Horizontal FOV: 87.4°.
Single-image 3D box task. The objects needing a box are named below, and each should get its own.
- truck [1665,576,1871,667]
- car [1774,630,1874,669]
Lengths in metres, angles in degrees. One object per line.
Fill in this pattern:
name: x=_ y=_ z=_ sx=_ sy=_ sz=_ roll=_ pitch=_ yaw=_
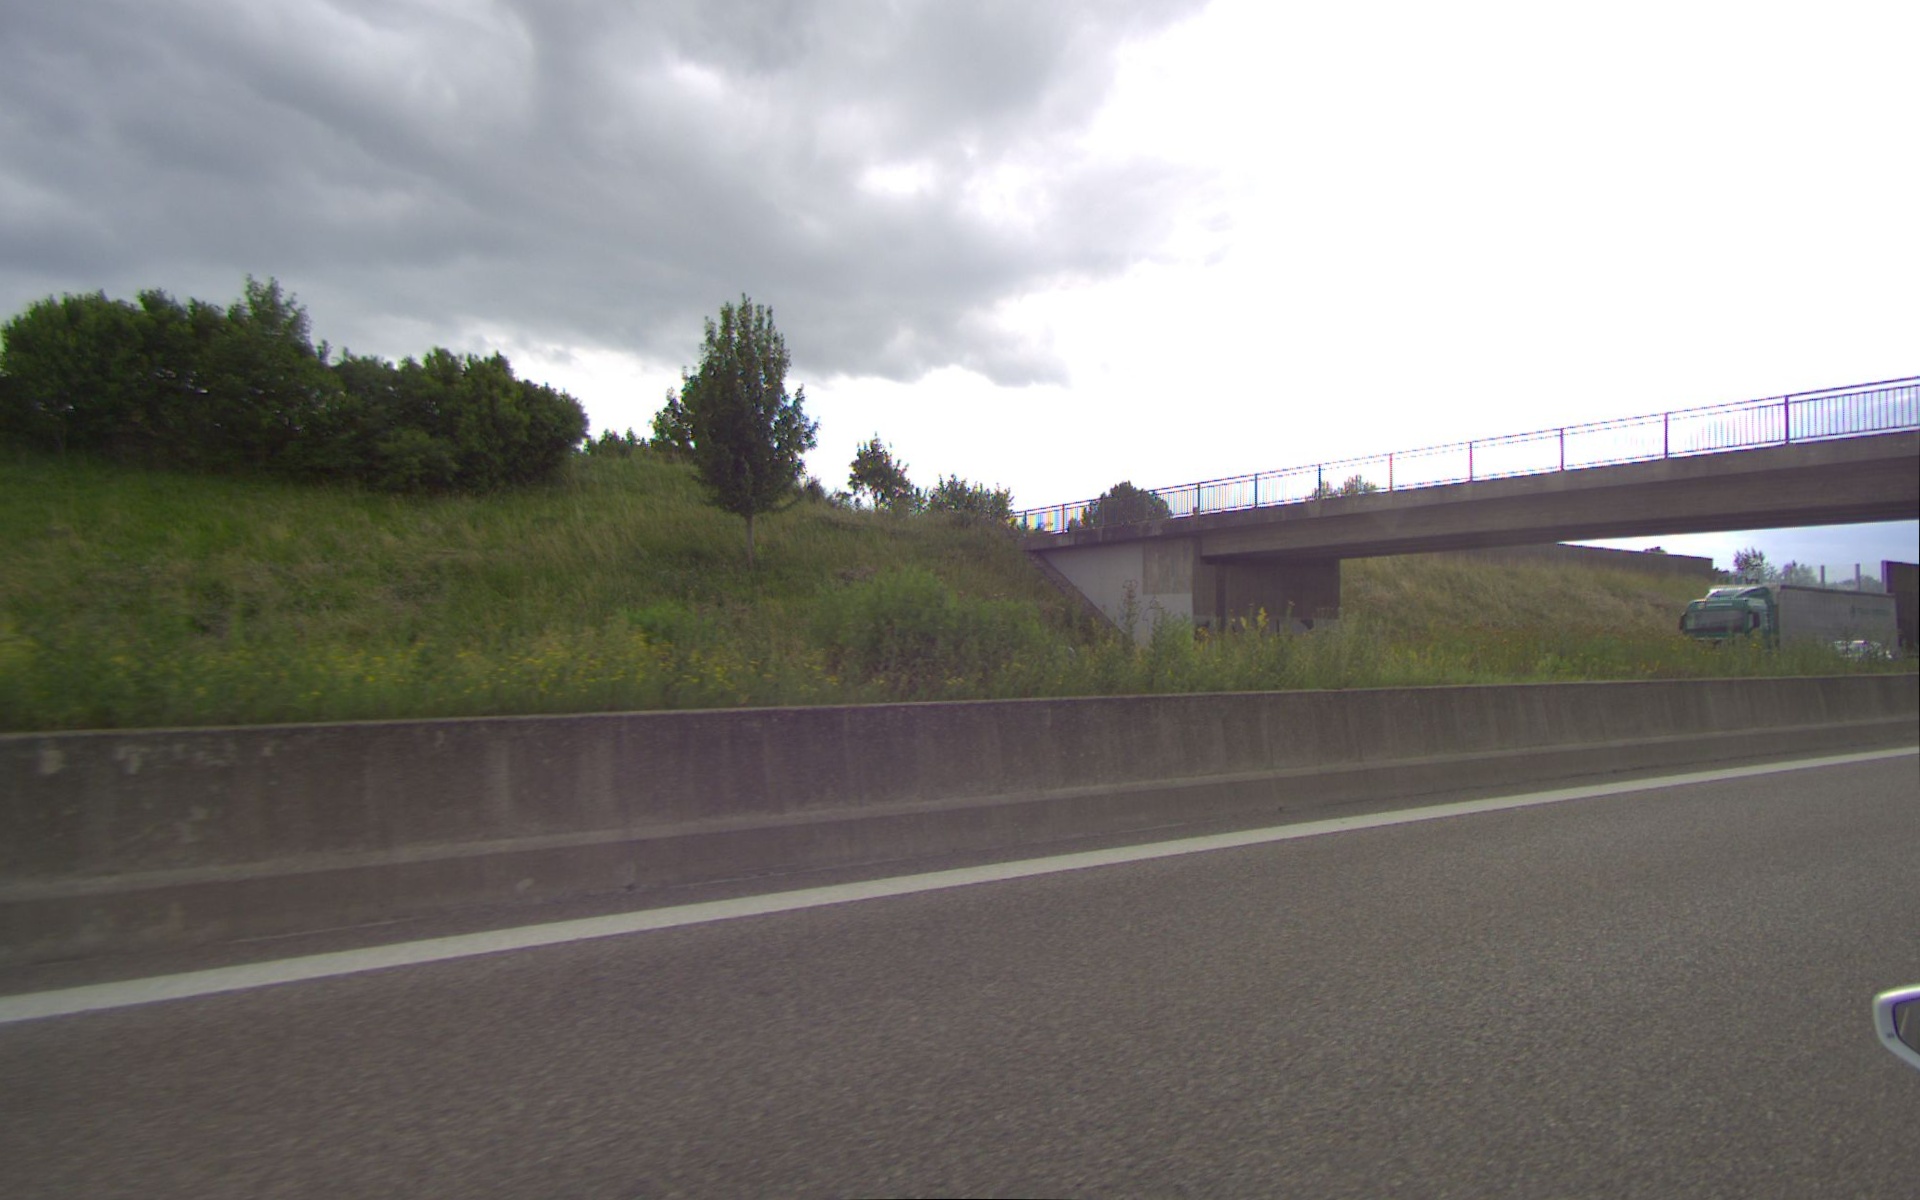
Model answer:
truck: x=37.054 y=1.081 z=45.801 sx=12.856 sy=3.732 sz=2.983 roll=2 pitch=-1 yaw=-30
car: x=34.961 y=1.961 z=40.613 sx=4.870 sy=1.504 sz=1.717 roll=1 pitch=-2 yaw=-33
